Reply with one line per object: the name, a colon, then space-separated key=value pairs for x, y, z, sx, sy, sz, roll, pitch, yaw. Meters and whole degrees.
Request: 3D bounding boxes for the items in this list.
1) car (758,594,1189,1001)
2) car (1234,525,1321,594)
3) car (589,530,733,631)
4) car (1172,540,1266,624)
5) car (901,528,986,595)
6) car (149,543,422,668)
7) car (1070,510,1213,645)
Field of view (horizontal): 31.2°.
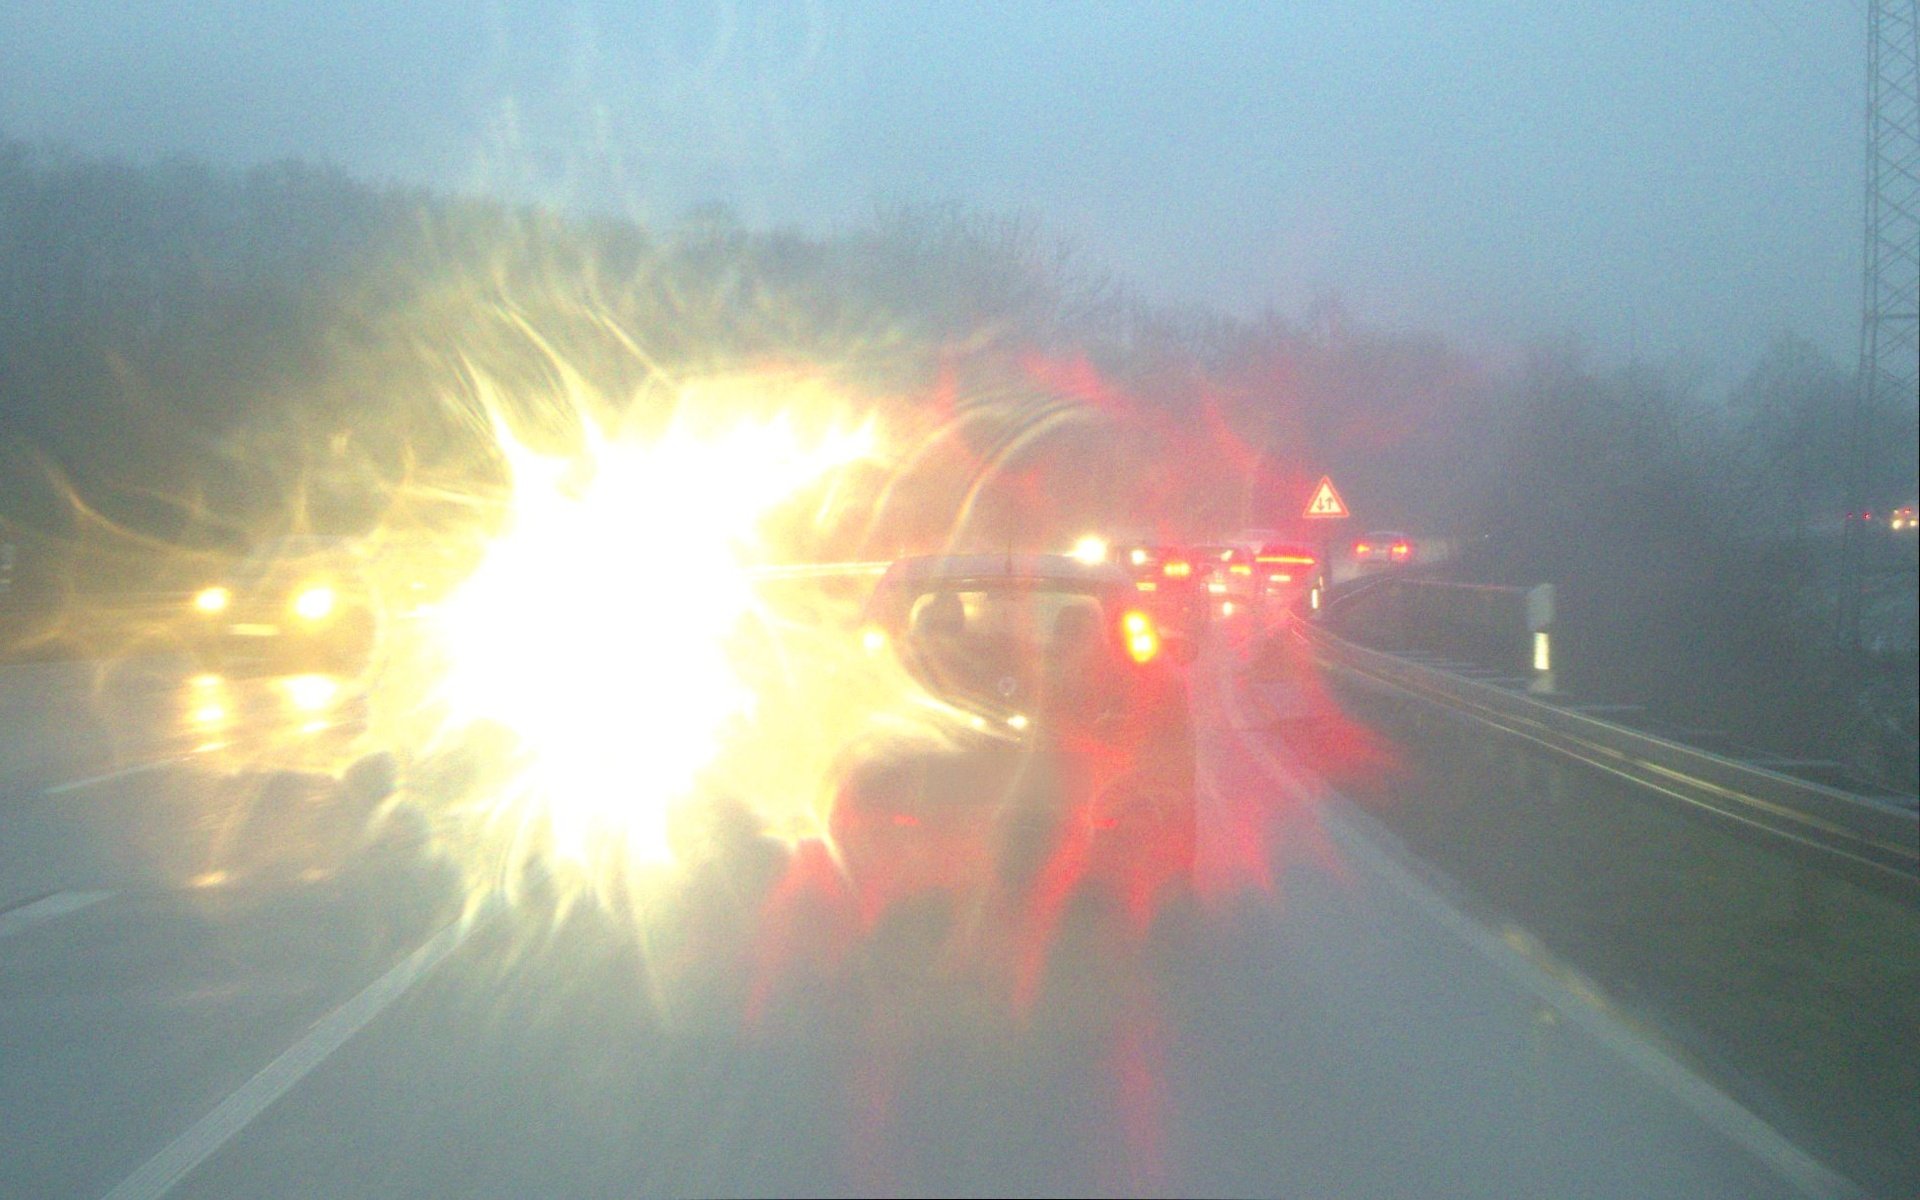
car: x=-0.019 y=0.824 z=16.425 sx=1.730 sy=1.527 sz=4.043 roll=-3 pitch=1 yaw=-2
car: x=8.437 y=-1.084 z=91.135 sx=1.947 sy=1.739 sz=3.999 roll=0 pitch=2 yaw=10
car: x=-4.433 y=-0.319 z=51.452 sx=1.695 sy=1.413 sz=4.000 roll=1 pitch=1 yaw=1
car: x=5.607 y=-0.412 z=74.422 sx=1.946 sy=1.739 sz=4.000 roll=1 pitch=1 yaw=4
car: x=-0.382 y=-0.974 z=84.928 sx=1.636 sy=1.467 sz=4.449 roll=3 pitch=2 yaw=5
car: x=-7.638 y=0.024 z=39.291 sx=1.596 sy=1.240 sz=3.998 roll=3 pitch=2 yaw=12
car: x=2.870 y=-0.381 z=53.591 sx=1.946 sy=2.007 sz=3.999 roll=1 pitch=1 yaw=7
